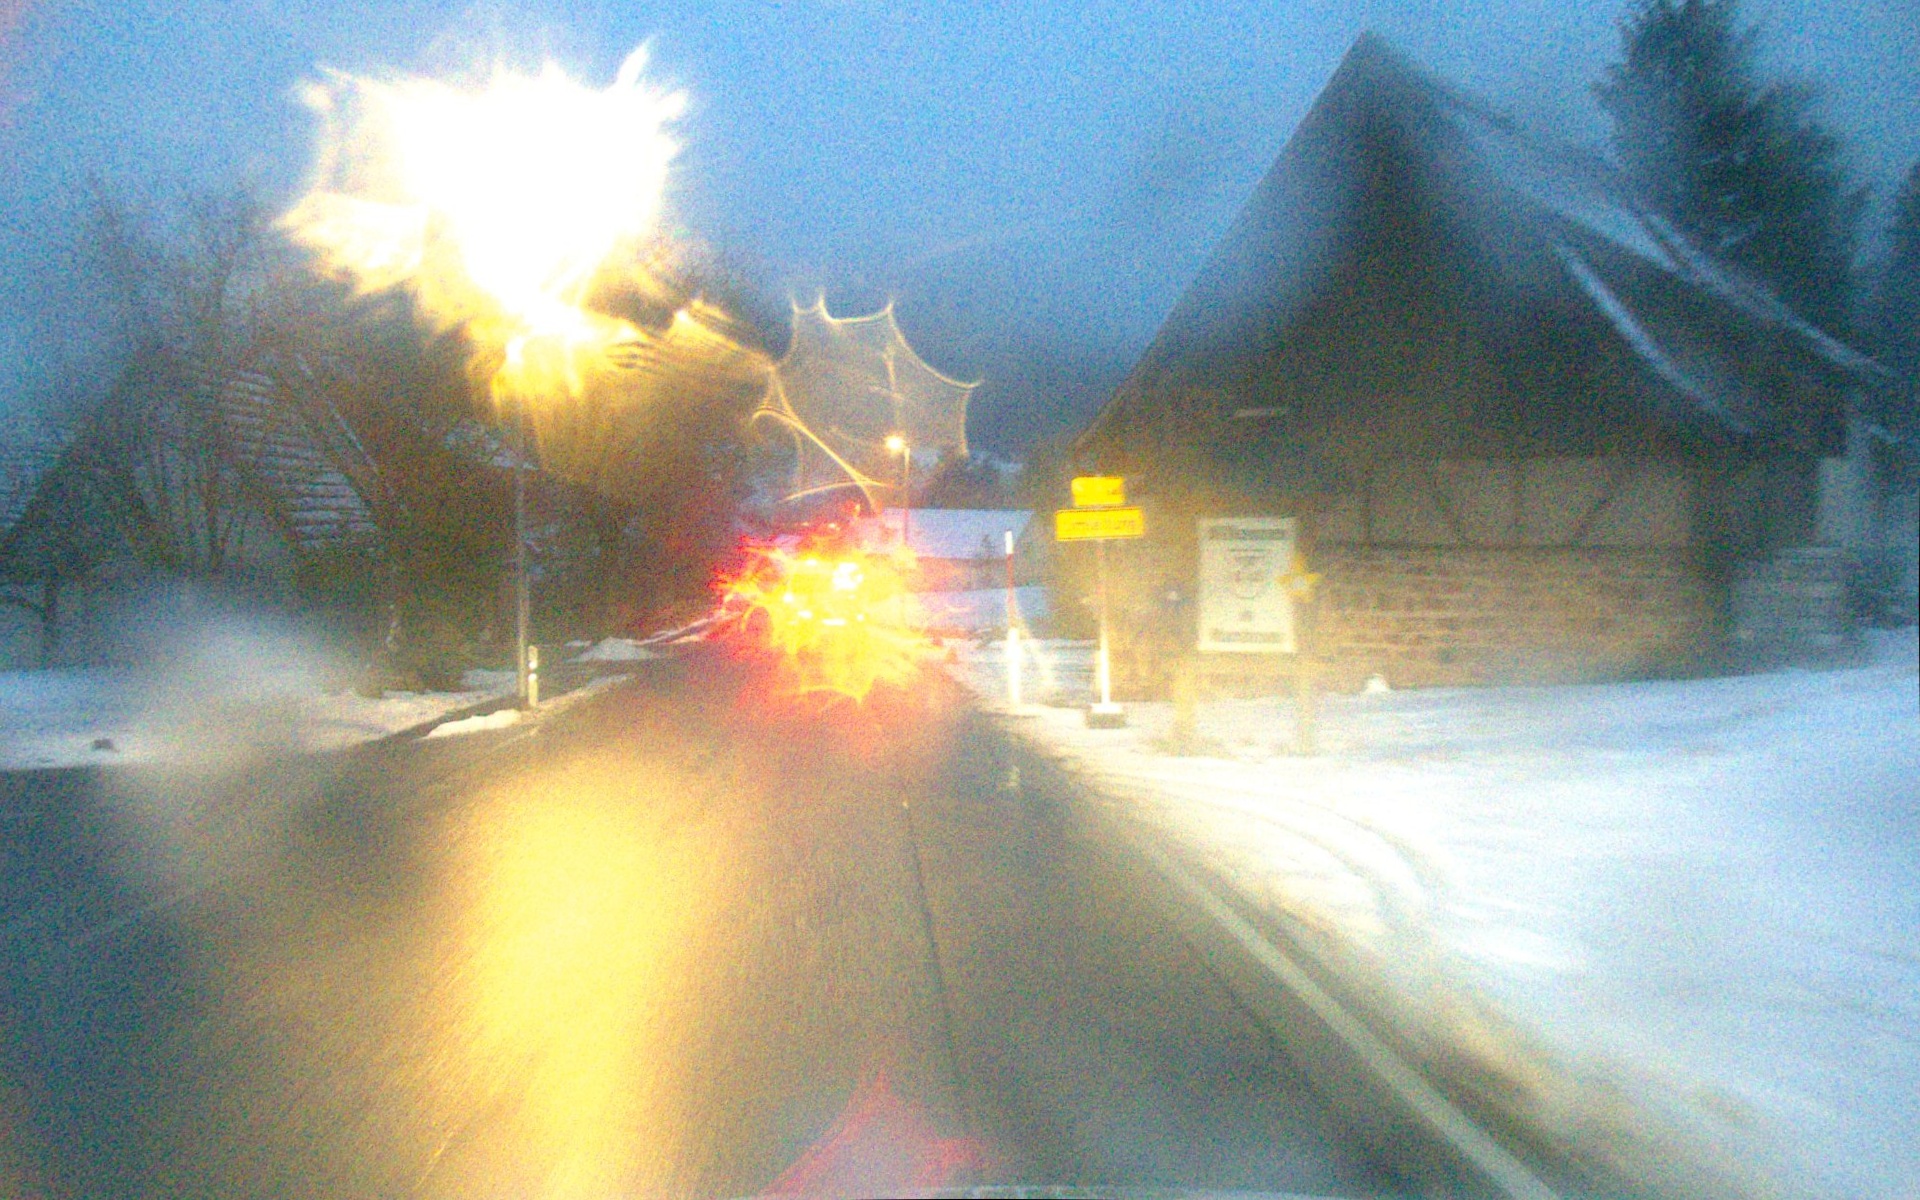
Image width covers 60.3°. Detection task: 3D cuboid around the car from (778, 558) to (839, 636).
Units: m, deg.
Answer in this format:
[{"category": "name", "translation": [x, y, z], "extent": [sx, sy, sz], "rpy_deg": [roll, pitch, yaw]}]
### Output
[{"category": "car", "translation": [-6.250, -0.075, 68.736], "extent": [2.387, 3.072, 5.320], "rpy_deg": [-1, -1, -4]}]

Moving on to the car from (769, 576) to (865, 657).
[{"category": "car", "translation": [-3.564, 0.371, 41.270], "extent": [2.230, 1.873, 5.002], "rpy_deg": [0, 0, -5]}]
